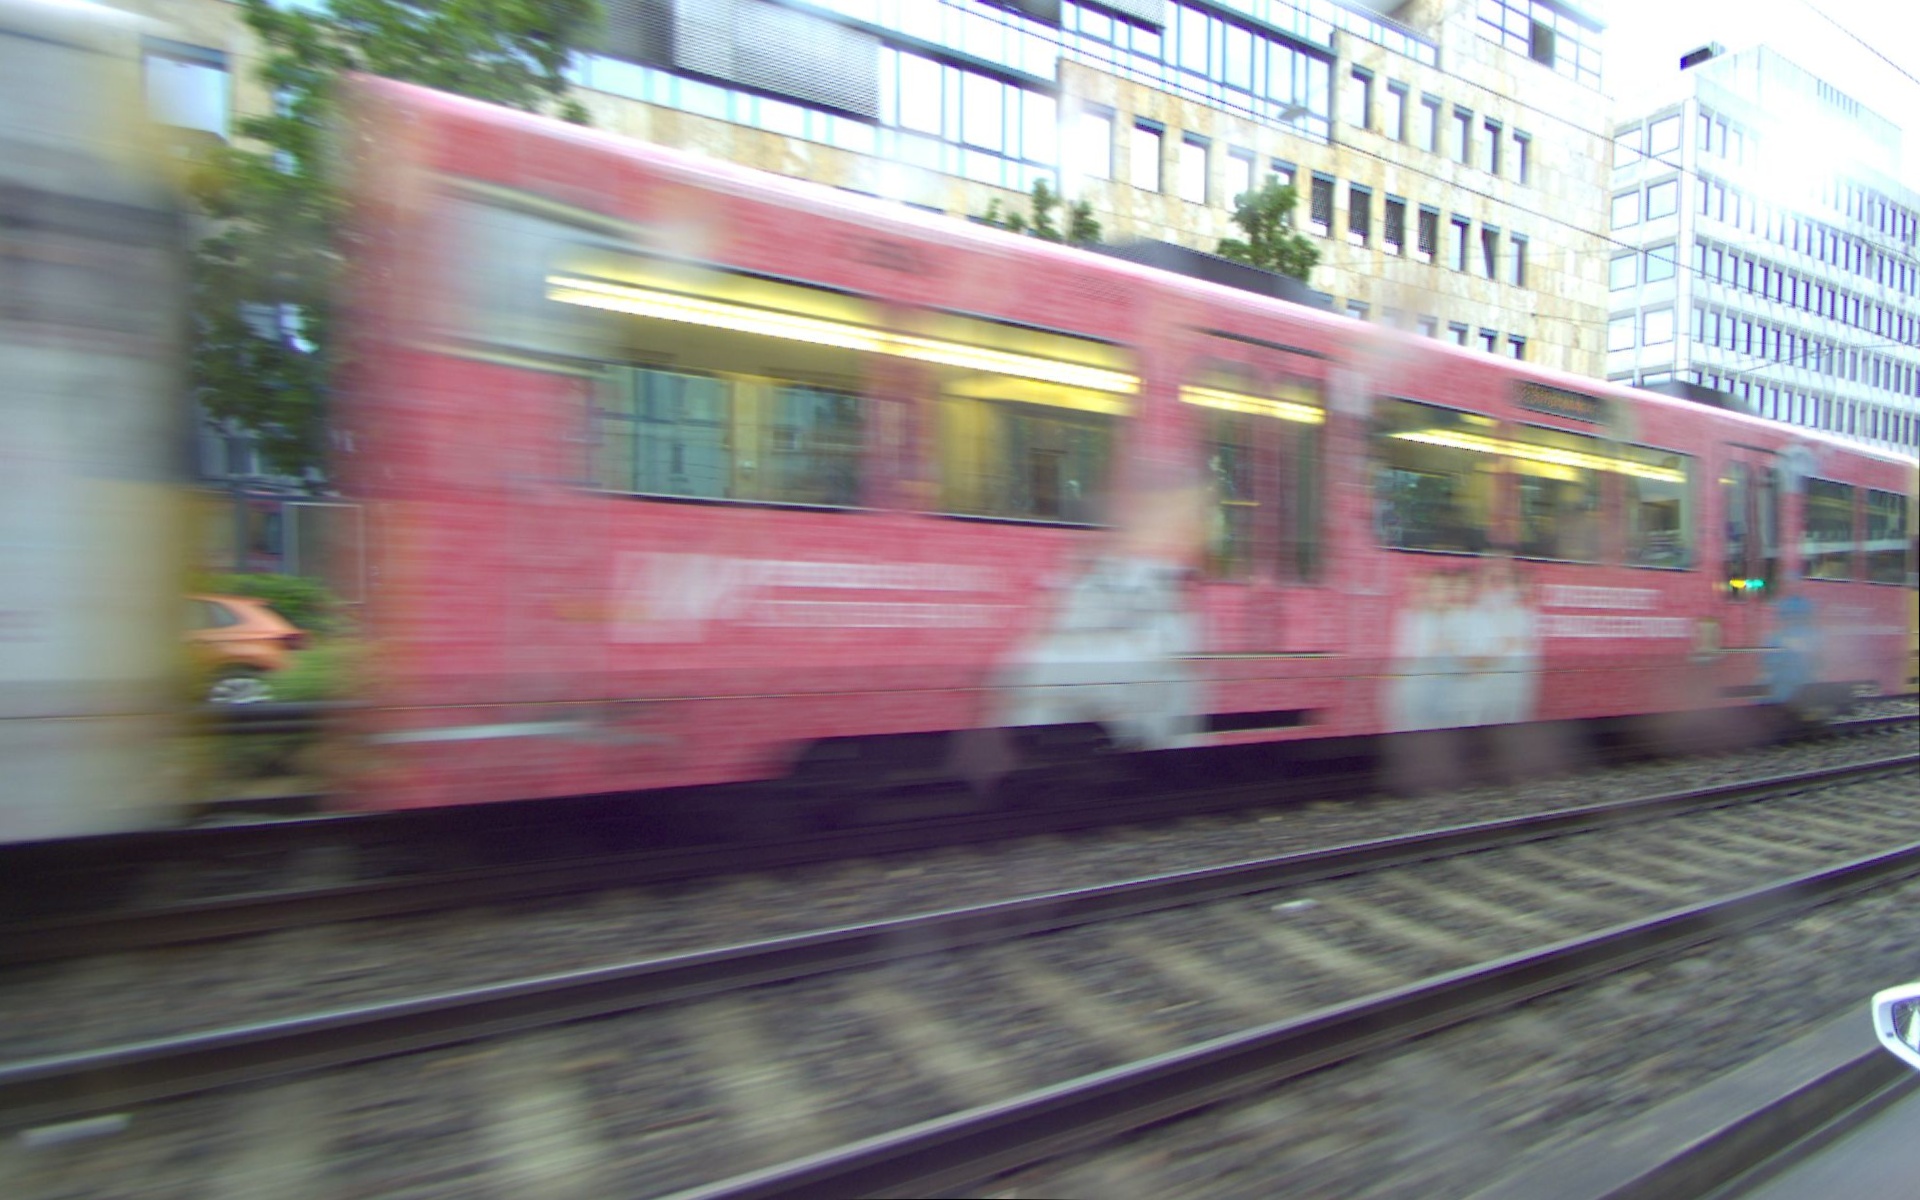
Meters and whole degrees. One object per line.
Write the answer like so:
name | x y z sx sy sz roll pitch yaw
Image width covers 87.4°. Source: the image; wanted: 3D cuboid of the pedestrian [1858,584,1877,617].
pedestrian | 51.435 0.009 56.930 0.836 1.847 0.560 -1 2 -35

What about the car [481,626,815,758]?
car | -4.234 1.152 13.813 4.143 1.518 1.641 0 0 -30

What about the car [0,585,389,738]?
car | -8.842 0.616 11.252 4.242 1.518 1.641 0 0 -30

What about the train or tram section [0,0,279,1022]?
train or tram section | -11.254 -0.771 0.181 18.198 4.104 2.887 1 0 -31

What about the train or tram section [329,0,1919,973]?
train or tram section | 4.849 -0.491 9.862 18.550 4.104 2.887 1 0 -31
